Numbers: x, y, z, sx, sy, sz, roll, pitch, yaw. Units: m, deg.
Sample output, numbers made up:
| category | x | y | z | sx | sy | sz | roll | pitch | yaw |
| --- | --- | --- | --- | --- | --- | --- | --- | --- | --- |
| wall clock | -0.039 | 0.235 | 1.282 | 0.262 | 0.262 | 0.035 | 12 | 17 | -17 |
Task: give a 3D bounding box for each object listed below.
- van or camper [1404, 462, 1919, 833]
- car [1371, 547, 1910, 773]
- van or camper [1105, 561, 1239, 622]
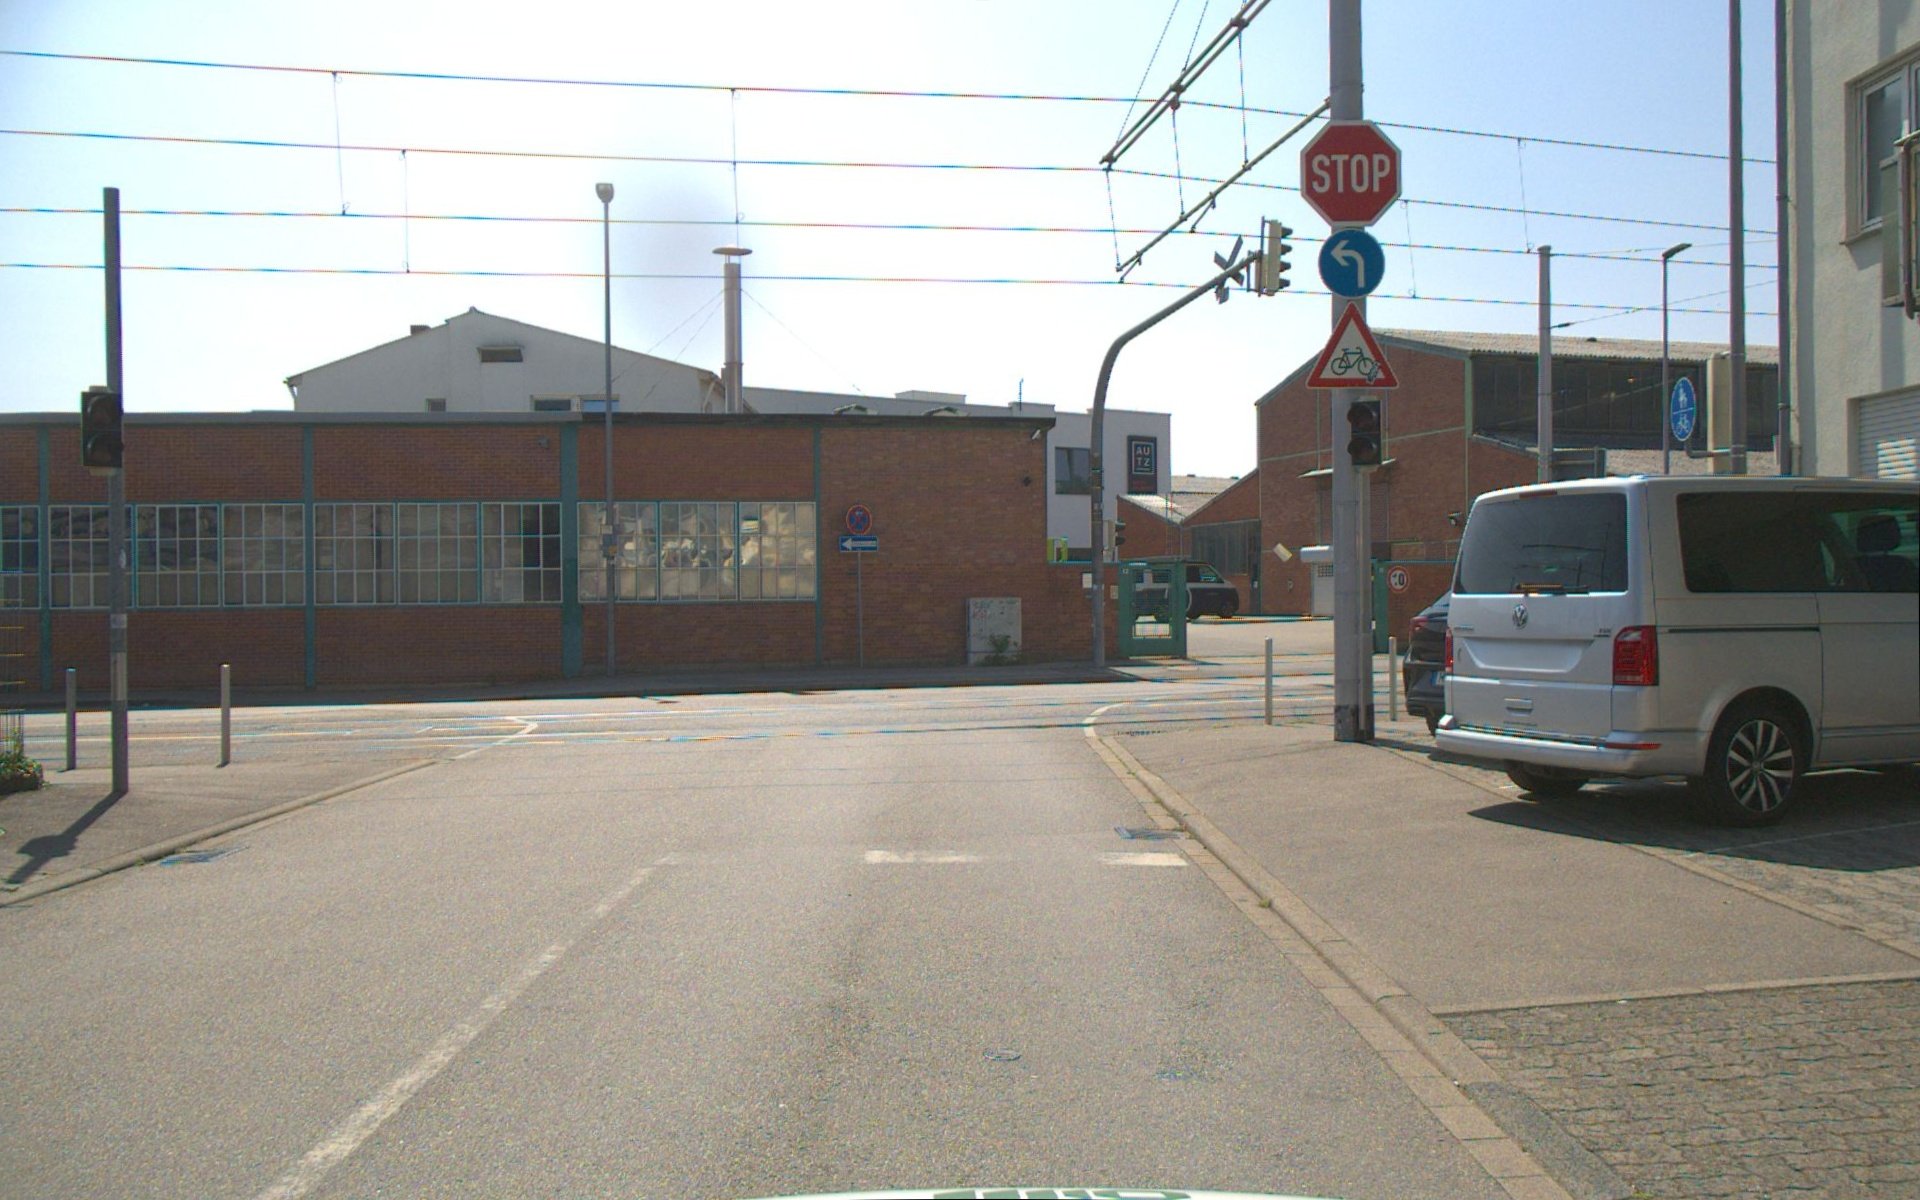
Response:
| category | x | y | z | sx | sy | sz | roll | pitch | yaw |
| --- | --- | --- | --- | --- | --- | --- | --- | --- | --- |
| van or camper | 5.280 | 0.176 | 10.421 | 4.476 | 1.941 | 1.988 | -2 | 1 | -21 |
| car | 5.439 | 0.394 | 13.216 | 3.912 | 1.547 | 1.865 | -1 | 0 | -26 |
| van or camper | 7.196 | -0.269 | 55.905 | 4.374 | 1.933 | 1.974 | 1 | -1 | -37 |
